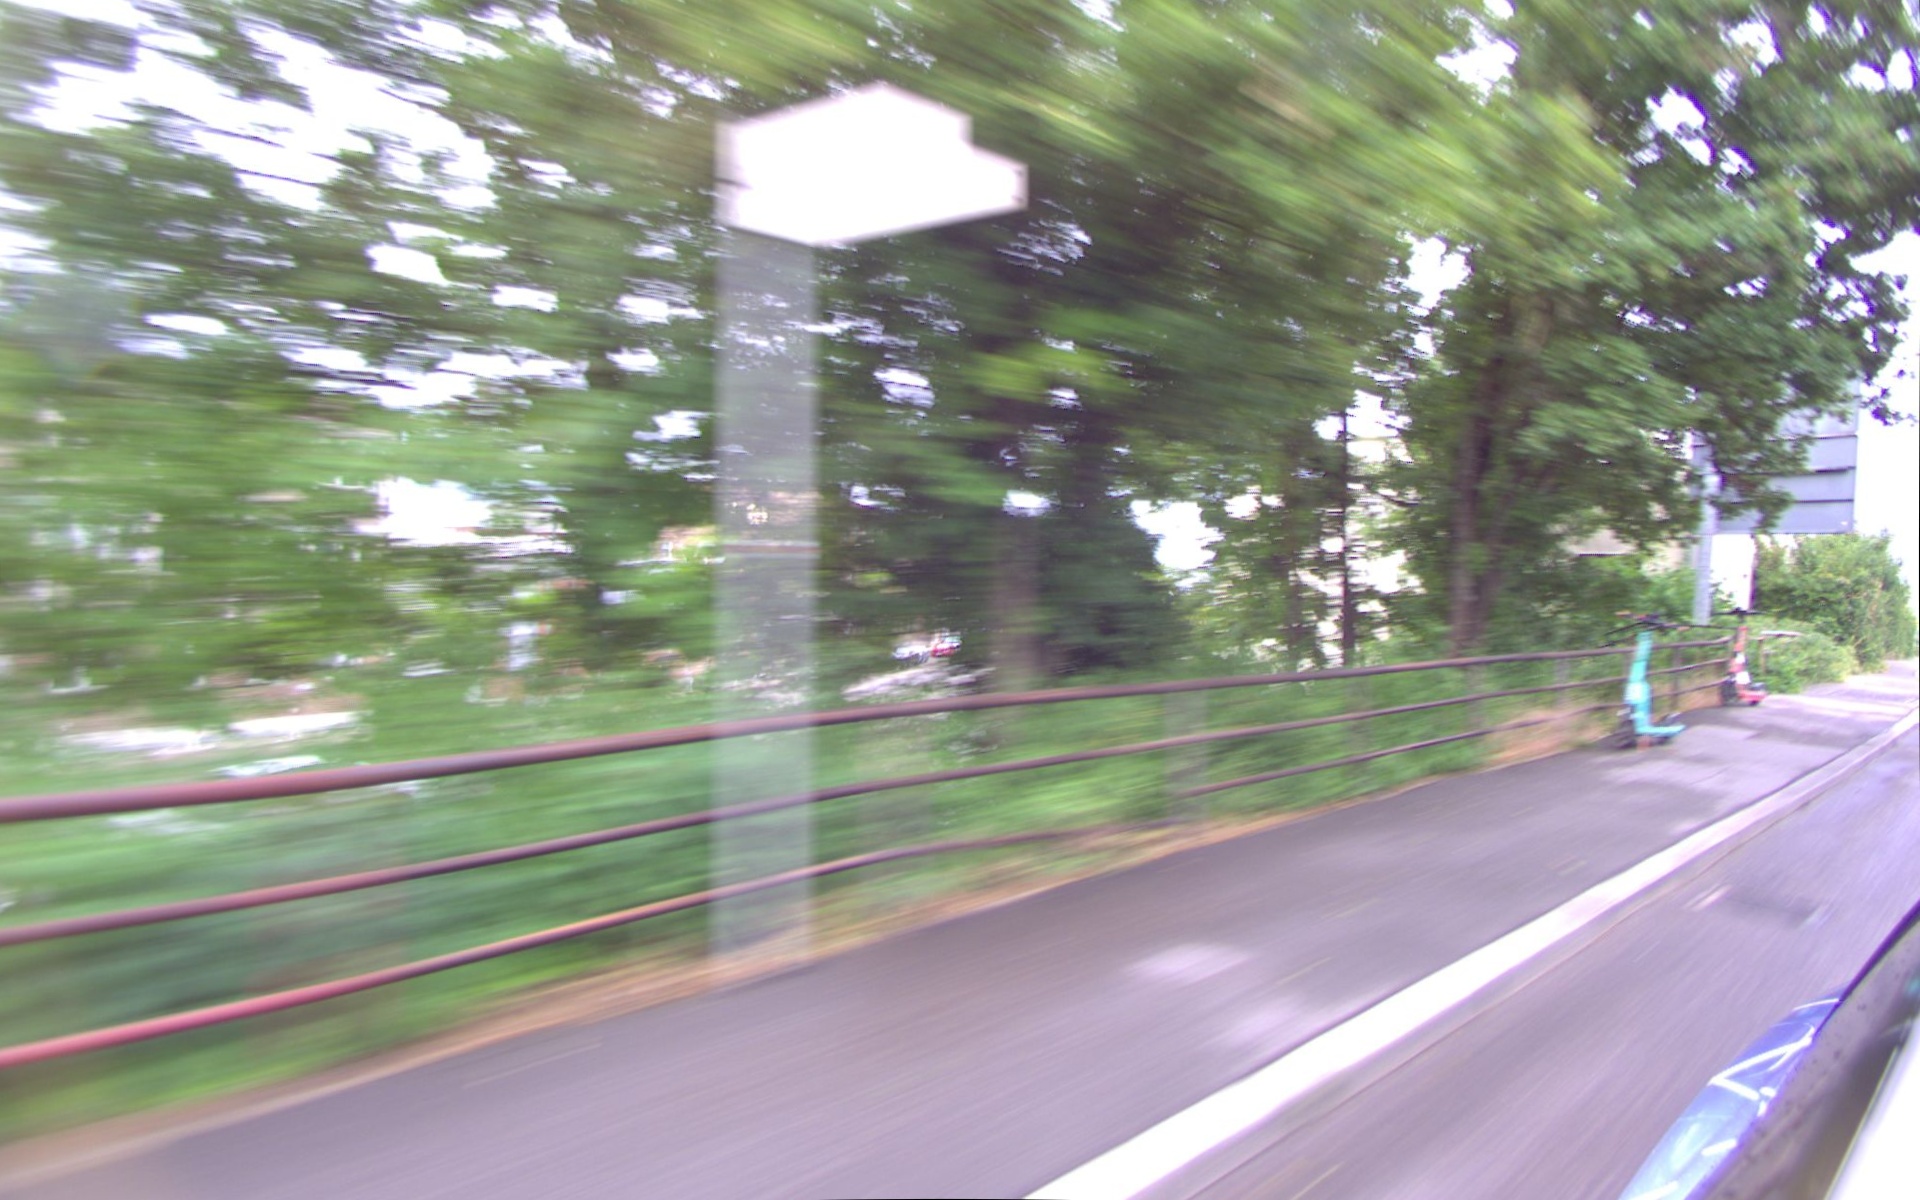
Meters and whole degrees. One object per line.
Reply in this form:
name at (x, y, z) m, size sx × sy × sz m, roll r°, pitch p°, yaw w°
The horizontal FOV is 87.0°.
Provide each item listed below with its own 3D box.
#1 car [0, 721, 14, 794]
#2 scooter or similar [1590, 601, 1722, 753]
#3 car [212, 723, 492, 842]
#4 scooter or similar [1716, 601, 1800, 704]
car at (-23.024, 3.534, 21.186) m, size 1.732 × 1.544 × 4.404 m, roll 0°, pitch 0°, yaw 30°
scooter or similar at (6.353, 0.640, 9.204) m, size 1.812 × 1.248 × 0.539 m, roll 0°, pitch 1°, yaw -41°
car at (-11.597, 3.410, 19.650) m, size 1.732 × 1.442 × 4.404 m, roll 0°, pitch 0°, yaw 30°
scooter or similar at (10.234, 0.639, 12.966) m, size 1.442 × 1.223 × 0.574 m, roll 0°, pitch 1°, yaw -41°
